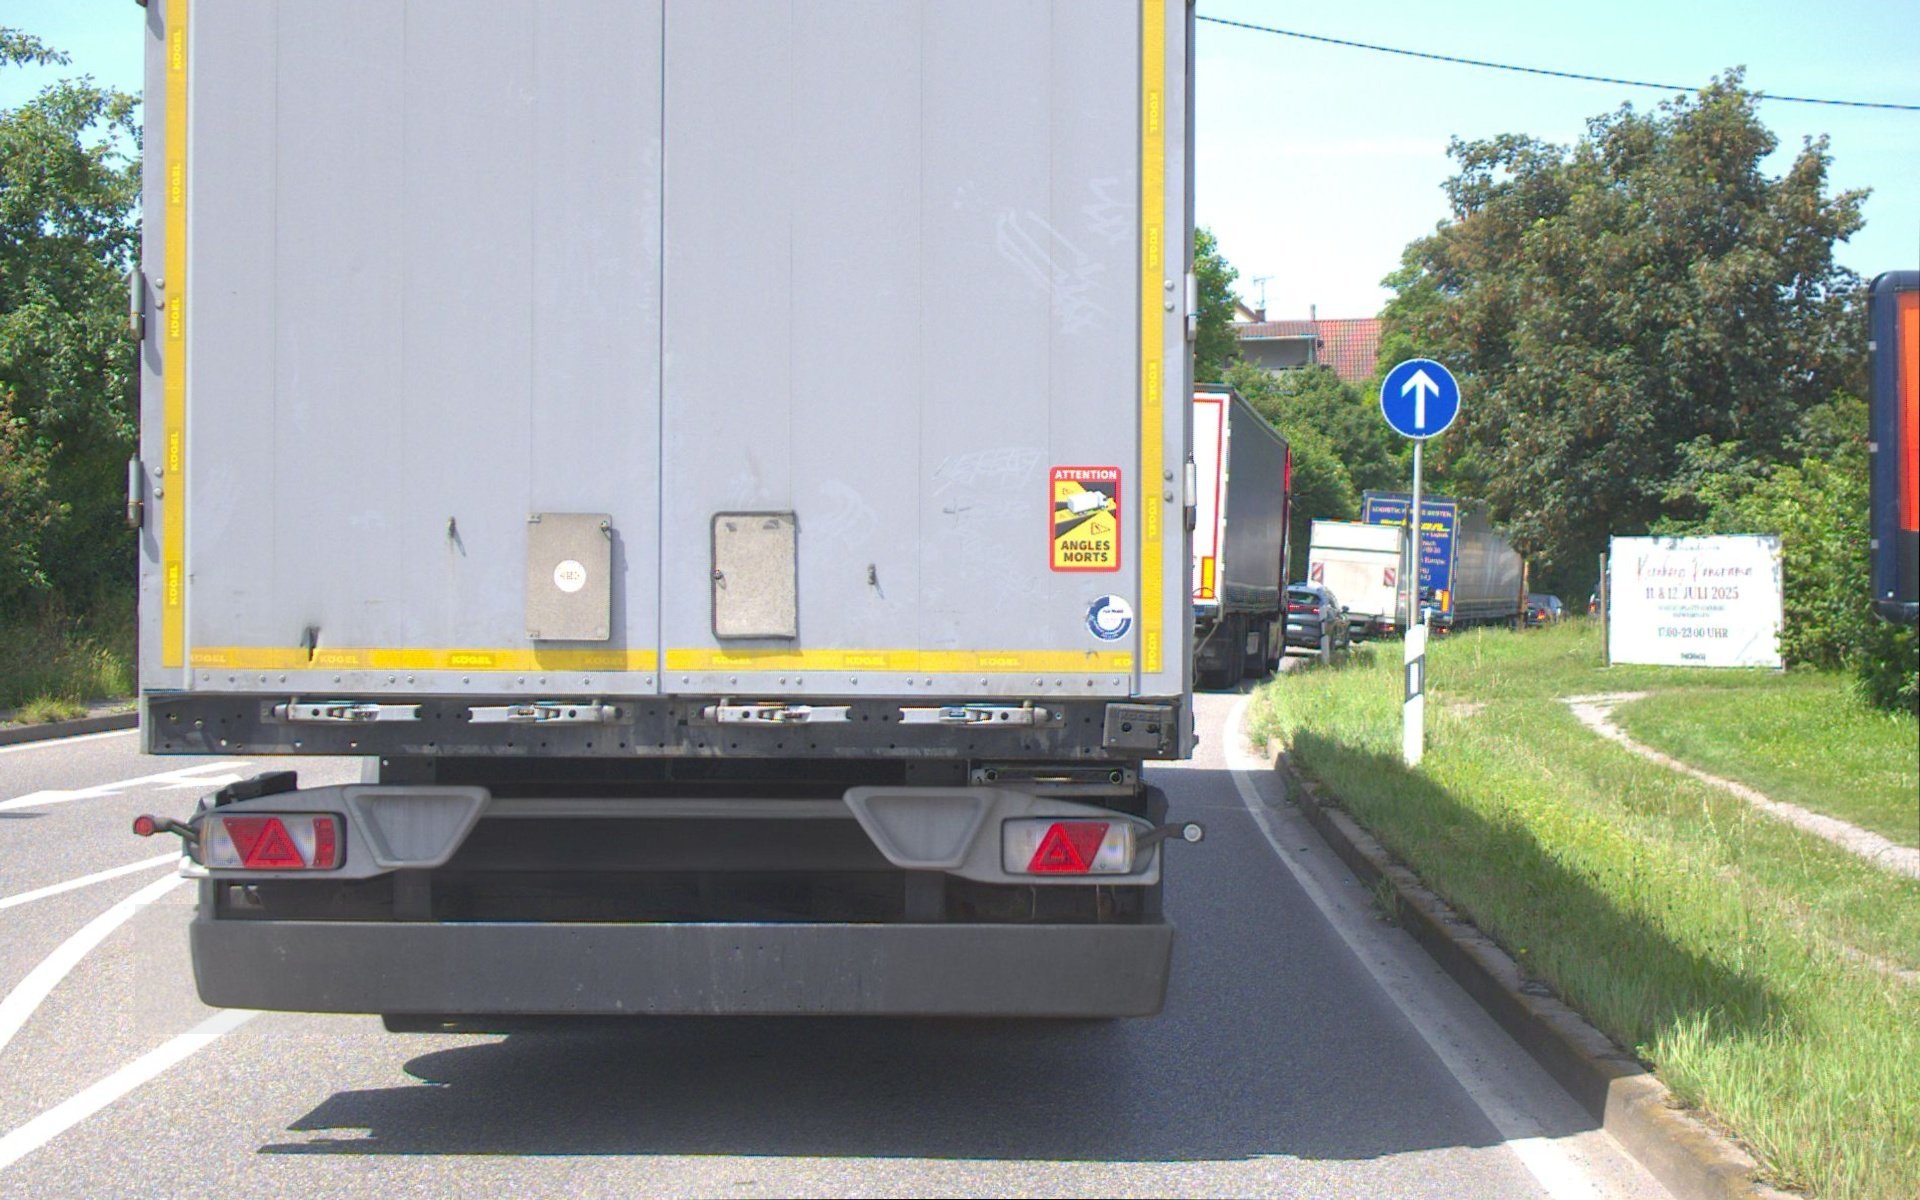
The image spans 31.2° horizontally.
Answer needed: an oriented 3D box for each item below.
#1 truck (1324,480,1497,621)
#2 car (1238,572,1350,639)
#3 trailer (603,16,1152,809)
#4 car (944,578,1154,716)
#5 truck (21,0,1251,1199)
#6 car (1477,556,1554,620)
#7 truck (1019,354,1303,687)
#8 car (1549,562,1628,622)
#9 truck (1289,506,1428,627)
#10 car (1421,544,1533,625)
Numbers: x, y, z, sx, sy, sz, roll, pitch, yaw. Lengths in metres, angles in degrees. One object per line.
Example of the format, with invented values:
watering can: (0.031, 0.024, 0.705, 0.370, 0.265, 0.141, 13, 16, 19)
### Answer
truck: (12.328, -1.371, 93.290, 3.435, 3.592, 9.347, 1, 1, 15)
car: (7.254, 0.121, 74.395, 1.994, 1.371, 3.998, 1, 0, 11)
trailer: (-0.331, -1.035, 21.105, 2.825, 4.097, 6.544, 0, 1, 2)
car: (0.990, 0.465, 36.112, 1.819, 1.342, 3.846, 1, 0, 7)
truck: (-0.568, -0.795, 13.668, 2.822, 4.113, 11.443, 1, 1, 2)
car: (17.929, -0.379, 110.797, 1.995, 2.007, 3.997, 1, 0, 15)
truck: (3.409, -1.037, 52.725, 2.761, 4.274, 16.409, 1, 0, 9)
car: (21.744, -0.260, 118.808, 1.995, 2.007, 3.996, 1, 0, 20)
truck: (9.679, -0.785, 83.038, 2.545, 2.793, 6.028, 1, 0, 14)
car: (15.362, -0.496, 101.850, 2.533, 2.269, 6.376, 1, 1, 15)
